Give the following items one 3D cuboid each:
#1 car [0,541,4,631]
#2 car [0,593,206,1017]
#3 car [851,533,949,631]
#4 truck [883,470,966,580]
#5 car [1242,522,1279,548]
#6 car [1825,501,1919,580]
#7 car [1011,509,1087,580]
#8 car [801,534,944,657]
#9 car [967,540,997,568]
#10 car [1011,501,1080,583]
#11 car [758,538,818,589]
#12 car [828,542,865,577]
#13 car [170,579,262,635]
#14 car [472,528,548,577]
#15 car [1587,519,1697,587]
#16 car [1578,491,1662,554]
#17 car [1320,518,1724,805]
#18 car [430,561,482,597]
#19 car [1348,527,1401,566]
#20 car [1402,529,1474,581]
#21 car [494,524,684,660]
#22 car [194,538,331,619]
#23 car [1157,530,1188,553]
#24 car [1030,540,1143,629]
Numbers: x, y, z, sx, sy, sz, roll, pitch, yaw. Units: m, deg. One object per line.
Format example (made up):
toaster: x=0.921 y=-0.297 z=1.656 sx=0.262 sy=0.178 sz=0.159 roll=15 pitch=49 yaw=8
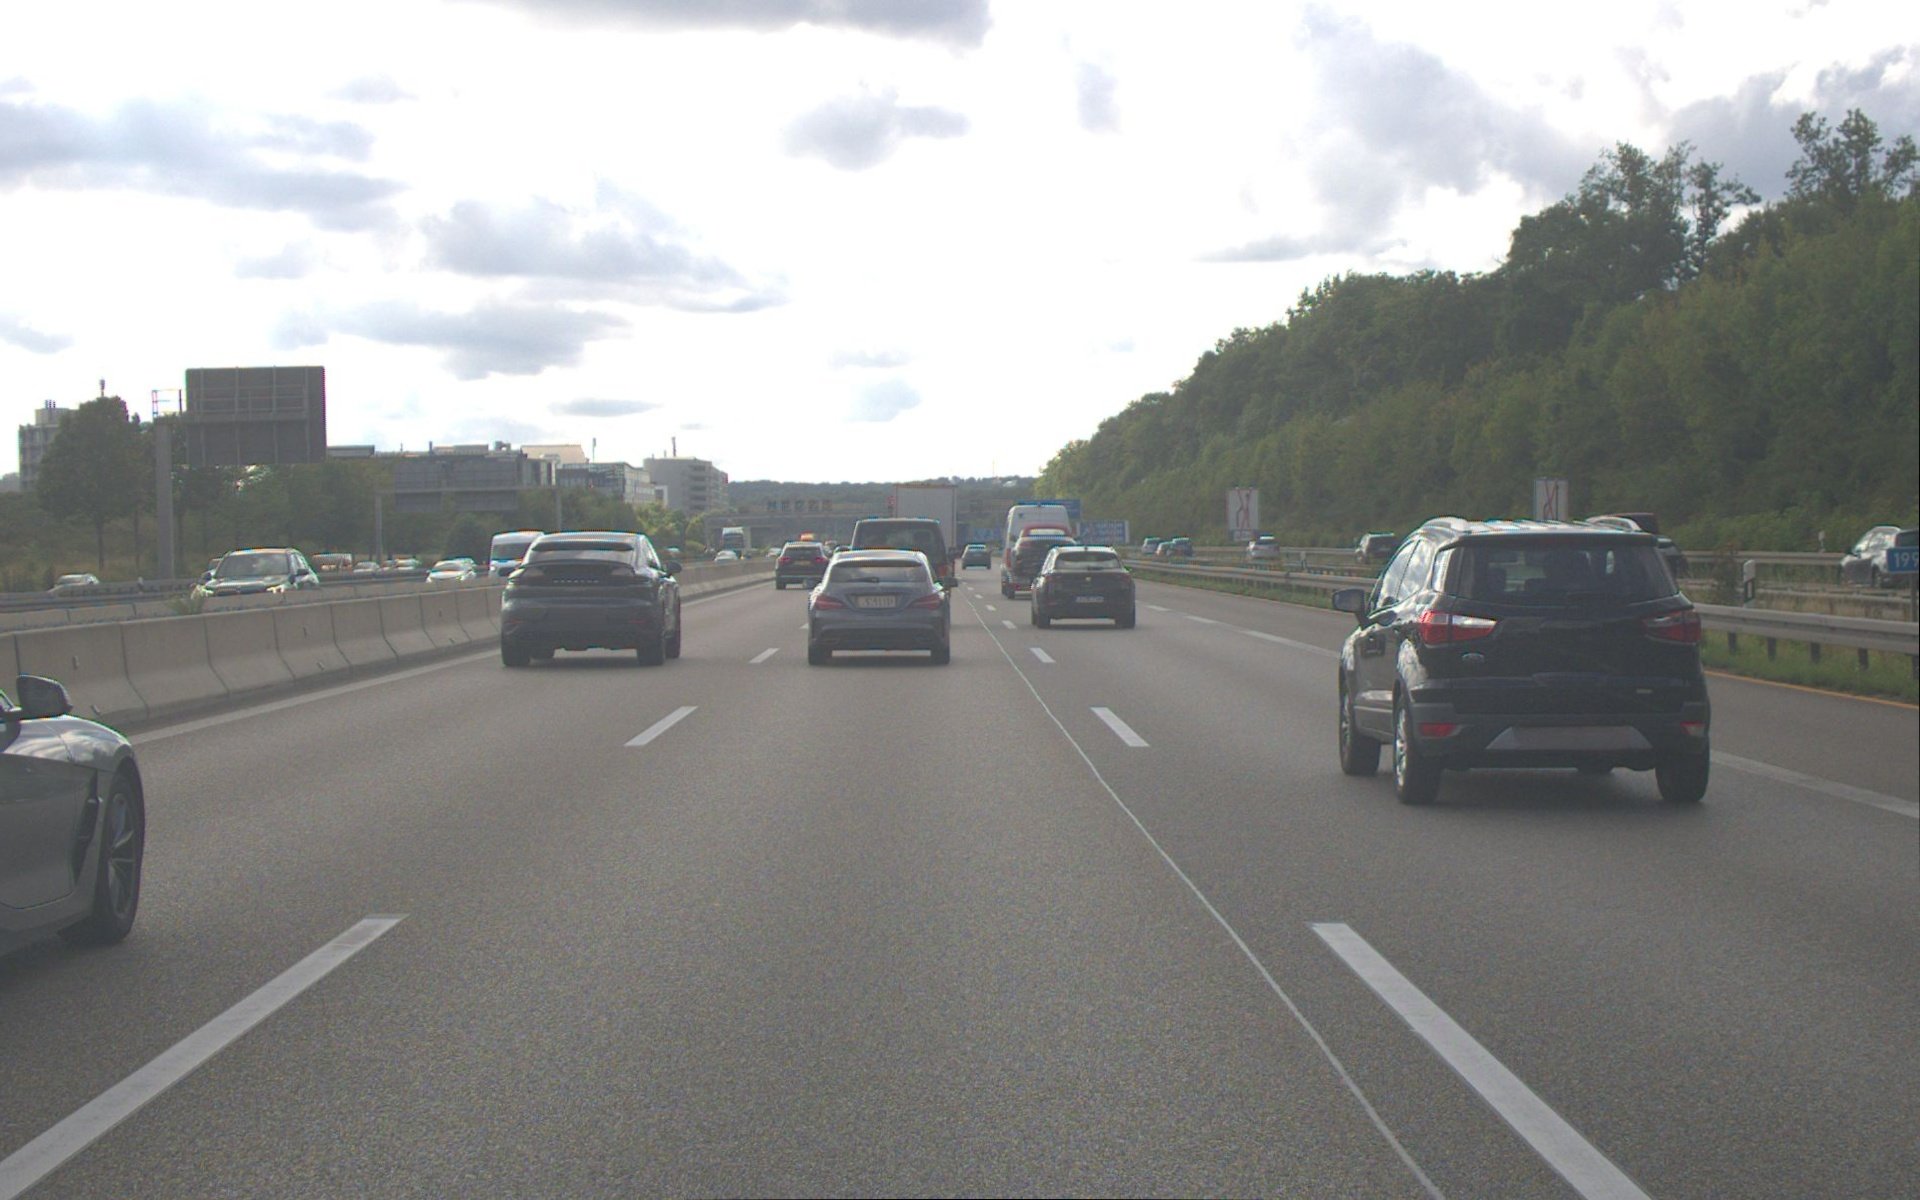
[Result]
car: x=-17.118 y=-0.183 z=56.075 sx=1.763 sy=1.527 sz=4.943 roll=0 pitch=1 yaw=-1
car: x=-4.027 y=0.676 z=11.734 sx=1.873 sy=1.298 sz=4.943 roll=0 pitch=1 yaw=-1
car: x=-1.089 y=-0.354 z=62.880 sx=1.720 sy=1.718 sz=4.392 roll=0 pitch=1 yaw=-1
truck: x=-1.457 y=-3.089 z=142.420 sx=3.263 sy=4.360 sz=11.027 roll=0 pitch=1 yaw=-1
car: x=18.103 y=-3.913 z=207.142 sx=1.752 sy=1.511 sz=4.191 roll=0 pitch=1 yaw=-2
car: x=19.469 y=-1.263 z=71.381 sx=1.728 sy=1.540 sz=4.306 roll=-2 pitch=1 yaw=-2
car: x=2.422 y=-1.541 z=94.477 sx=1.913 sy=1.912 sz=4.031 roll=0 pitch=1 yaw=-1
car: x=-1.089 y=-0.096 z=43.935 sx=1.720 sy=1.474 sz=4.392 roll=0 pitch=1 yaw=-1
car: x=1.371 y=-2.834 z=212.778 sx=1.752 sy=1.689 sz=4.190 roll=0 pitch=1 yaw=-1
car: x=2.501 y=-1.721 z=101.402 sx=1.873 sy=2.349 sz=4.282 roll=0 pitch=1 yaw=-1
car: x=-5.848 y=-1.237 z=117.035 sx=1.873 sy=1.692 sz=4.072 roll=0 pitch=1 yaw=-1
car: x=-5.368 y=-1.938 z=162.490 sx=1.697 sy=1.605 sz=4.114 roll=0 pitch=1 yaw=-1
car: x=-21.982 y=0.192 z=101.764 sx=1.763 sy=1.527 sz=4.717 roll=0 pitch=1 yaw=-1
car: x=-18.573 y=-1.985 z=142.162 sx=2.355 sy=1.960 sz=5.834 roll=0 pitch=1 yaw=0
car: x=15.874 y=-1.104 z=80.186 sx=1.595 sy=1.540 sz=4.191 roll=0 pitch=1 yaw=-2
car: x=19.293 y=-2.269 z=100.671 sx=1.595 sy=1.797 sz=3.825 roll=0 pitch=1 yaw=-2
car: x=3.303 y=0.299 z=20.929 sx=1.697 sy=1.559 sz=4.114 roll=0 pitch=1 yaw=-1
car: x=-22.266 y=-0.935 z=152.057 sx=1.725 sy=1.524 sz=4.866 roll=0 pitch=1 yaw=-2
car: x=18.217 y=-2.356 z=151.272 sx=1.752 sy=1.689 sz=4.190 roll=0 pitch=1 yaw=-1
car: x=15.963 y=-1.524 z=114.939 sx=1.752 sy=1.689 sz=4.190 roll=0 pitch=1 yaw=-1
car: x=-4.713 y=-0.154 z=44.375 sx=1.912 sy=1.630 sz=5.501 roll=0 pitch=1 yaw=-1
car: x=-13.816 y=-0.451 z=68.368 sx=1.763 sy=1.527 sz=4.943 roll=0 pitch=1 yaw=-1
car: x=14.414 y=-3.981 z=233.601 sx=1.729 sy=1.528 sz=4.453 roll=-1 pitch=1 yaw=-1
car: x=2.243 y=-0.304 z=61.951 sx=1.832 sy=1.516 sz=4.225 roll=0 pitch=1 yaw=-1
